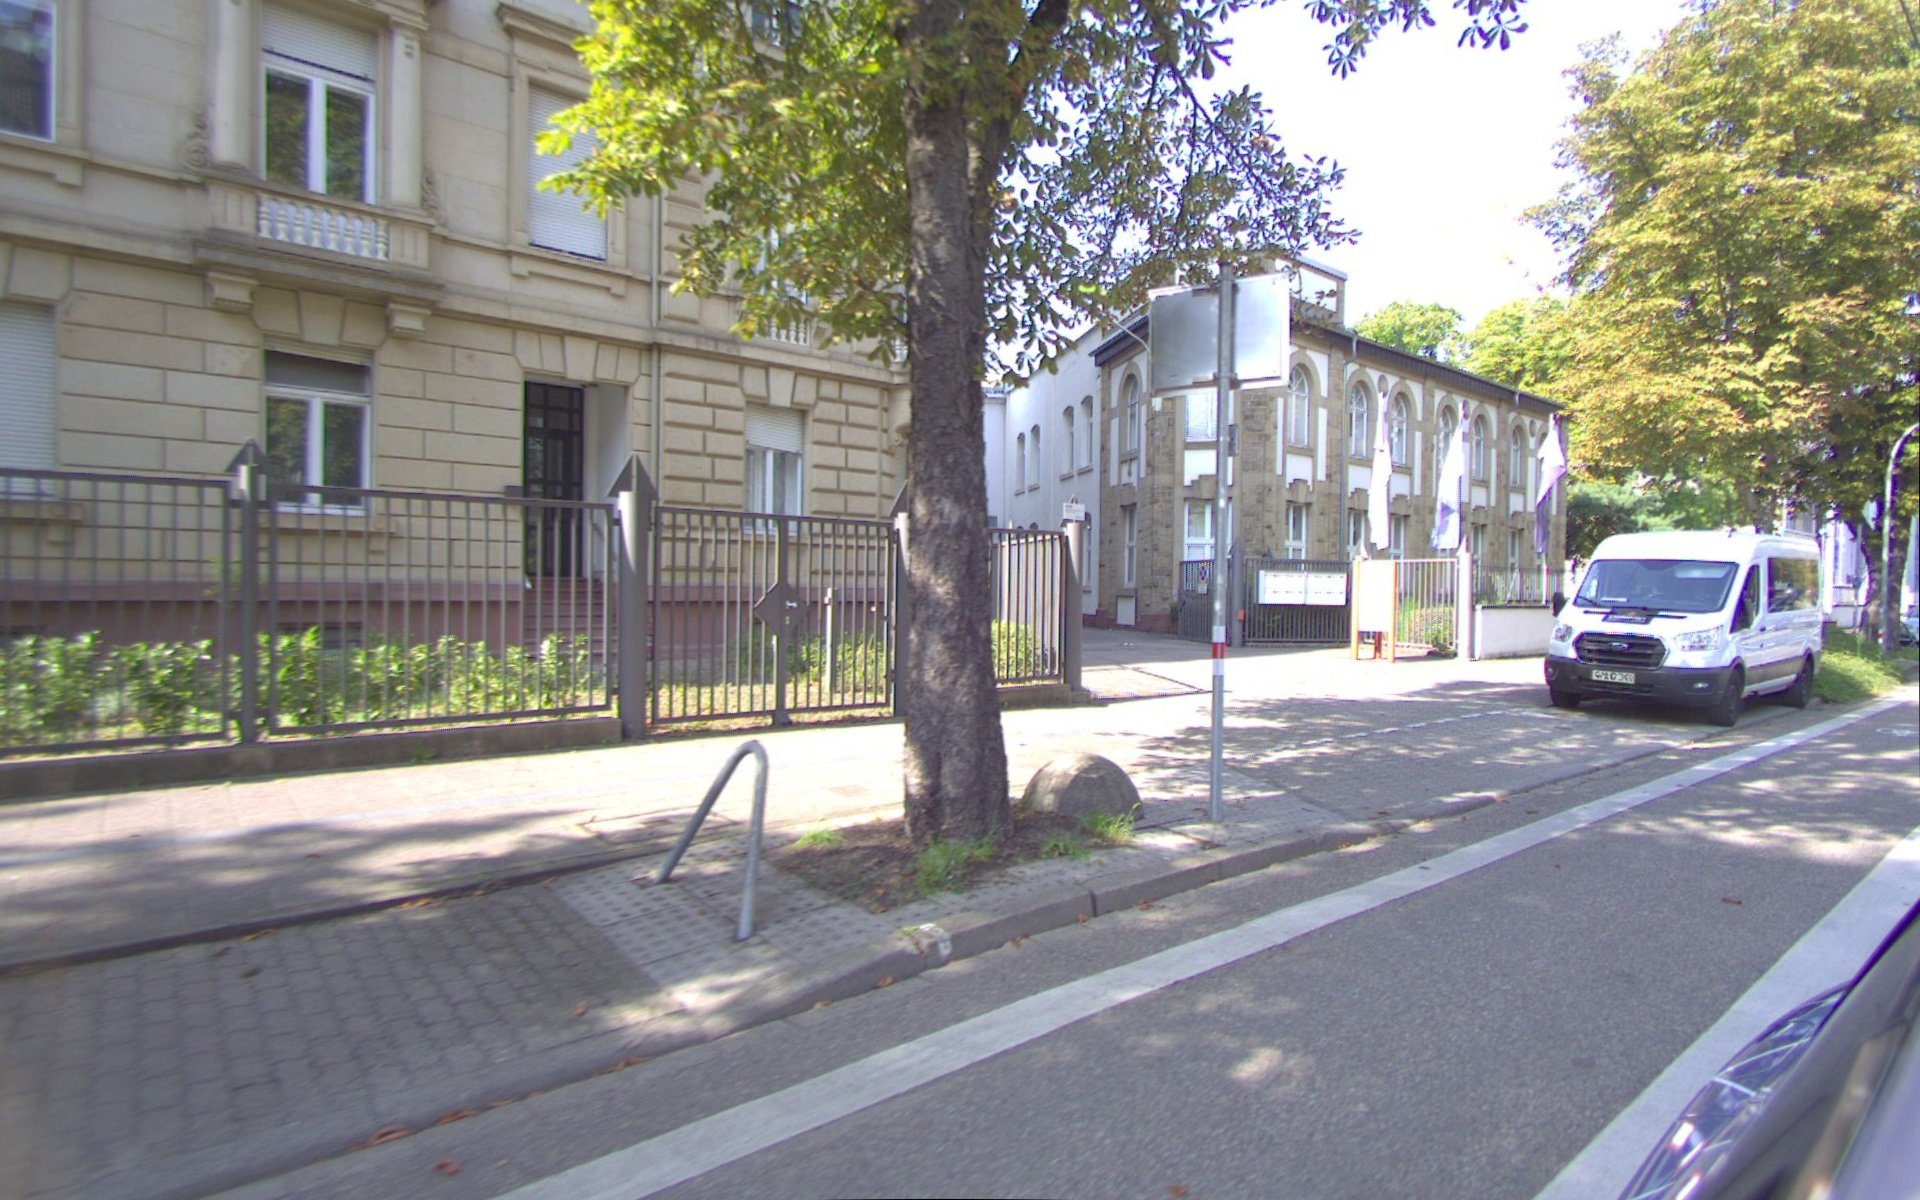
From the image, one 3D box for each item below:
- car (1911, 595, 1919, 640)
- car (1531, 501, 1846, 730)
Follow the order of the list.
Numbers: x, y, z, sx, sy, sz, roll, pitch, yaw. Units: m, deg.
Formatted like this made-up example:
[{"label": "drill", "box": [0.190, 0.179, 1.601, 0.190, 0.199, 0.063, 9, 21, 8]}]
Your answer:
[{"label": "car", "box": [31.469, 0.565, 31.931, 3.722, 1.374, 1.756, 0, 2, -41]}, {"label": "car", "box": [10.202, 0.108, 13.955, 5.762, 2.572, 1.999, 0, 3, -39]}]
